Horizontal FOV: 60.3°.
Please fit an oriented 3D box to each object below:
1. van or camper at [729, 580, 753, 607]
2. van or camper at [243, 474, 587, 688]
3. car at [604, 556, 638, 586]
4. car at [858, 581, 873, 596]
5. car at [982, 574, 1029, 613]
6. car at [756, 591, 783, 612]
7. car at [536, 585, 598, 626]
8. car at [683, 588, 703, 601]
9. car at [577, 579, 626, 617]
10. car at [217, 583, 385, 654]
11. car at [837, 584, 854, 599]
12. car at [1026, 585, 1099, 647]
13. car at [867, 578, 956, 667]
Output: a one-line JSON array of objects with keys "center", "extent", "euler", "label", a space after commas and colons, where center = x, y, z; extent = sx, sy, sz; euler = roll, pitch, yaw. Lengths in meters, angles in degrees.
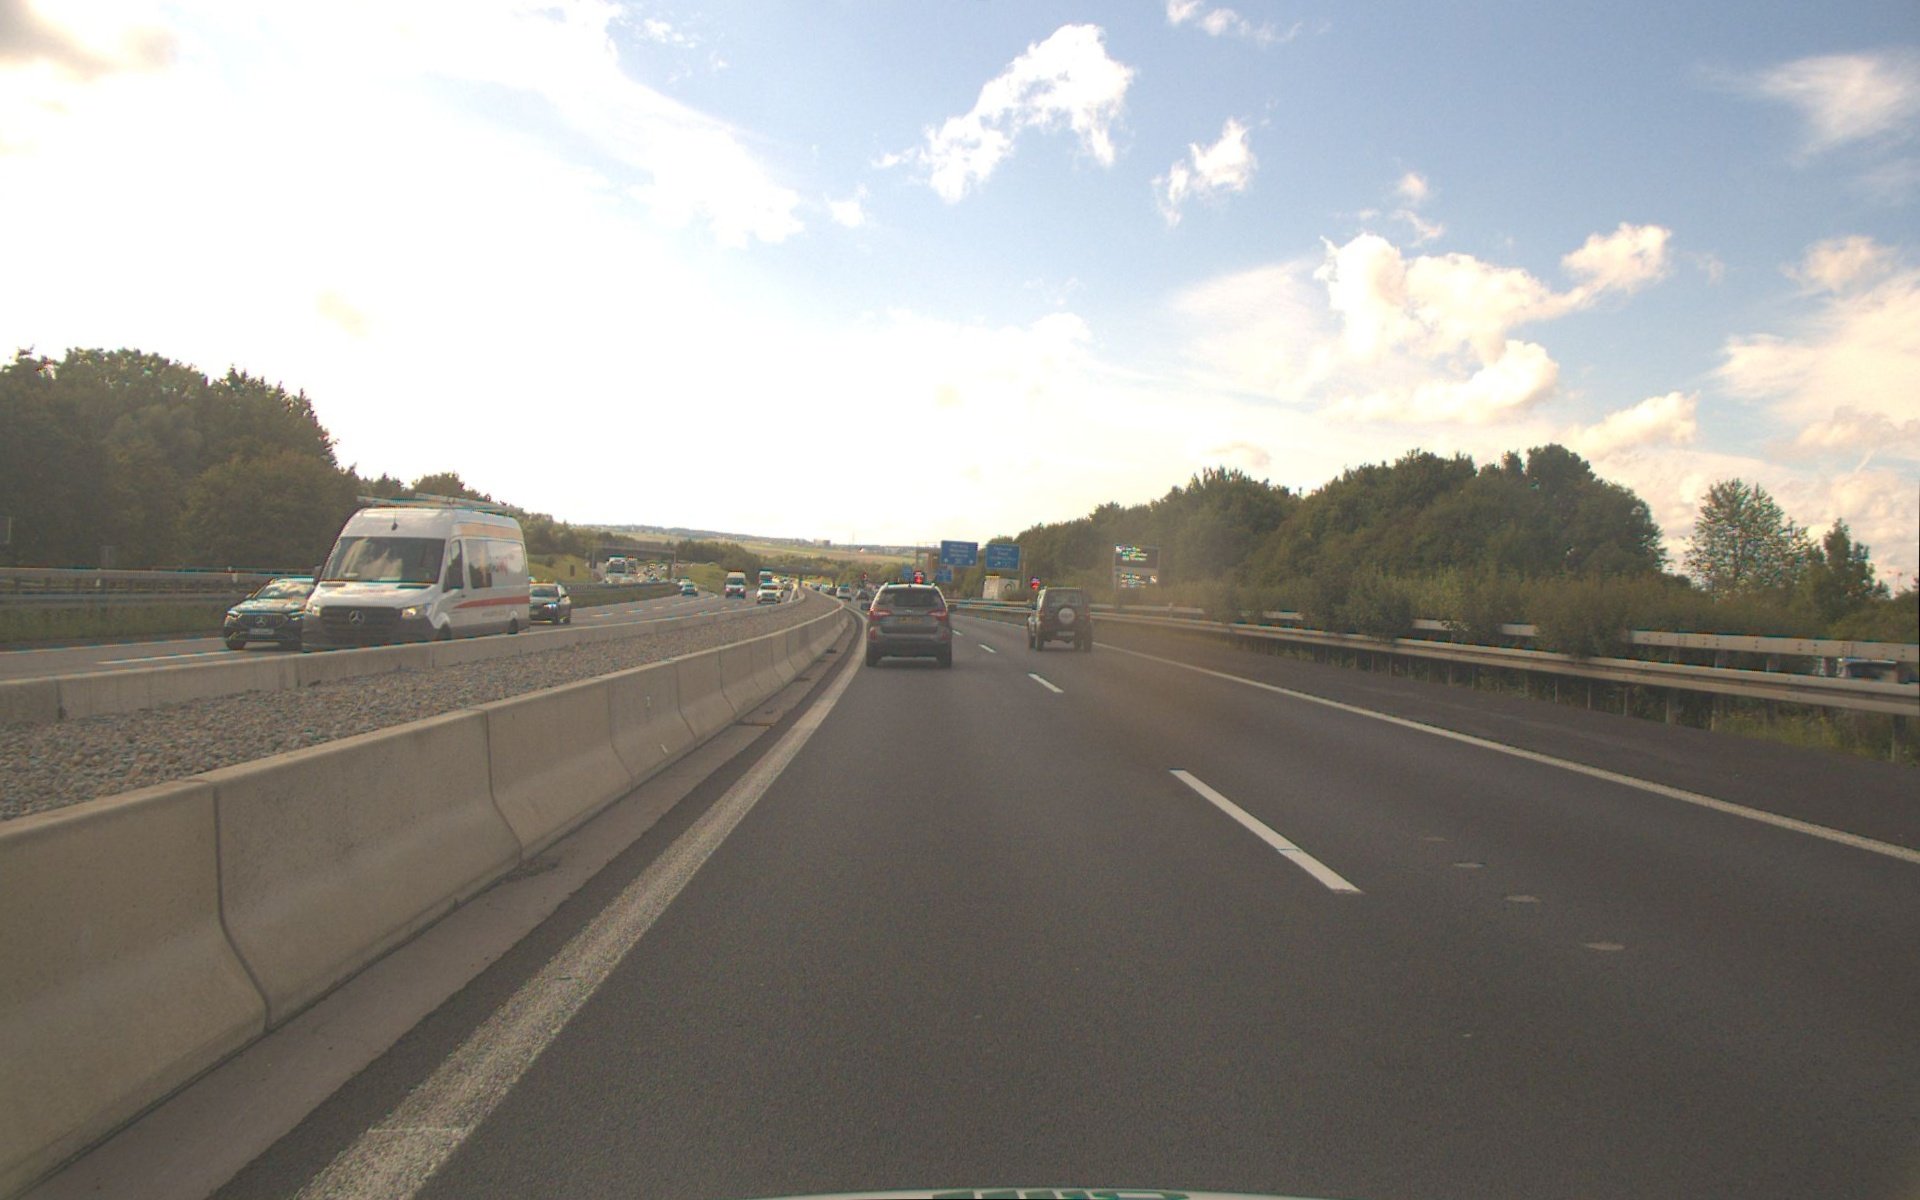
[{"center": [-22.867, -0.678, 172.792], "extent": [1.947, 2.670, 6.857], "euler": [2, 0, -4], "label": "van or camper"}, {"center": [-8.706, -0.278, 27.601], "extent": [3.267, 2.967, 7.464], "euler": [2, 0, -1], "label": "van or camper"}, {"center": [-48.561, -4.109, 237.372], "extent": [3.745, 4.151, 14.803], "euler": [2, 0, -8], "label": "car"}, {"center": [-14.116, -1.703, 246.648], "extent": [1.956, 1.963, 3.992], "euler": [2, -2, -8], "label": "car"}, {"center": [5.577, -0.709, 205.060], "extent": [4.635, 4.341, 11.393], "euler": [2, -1, -4], "label": "car"}, {"center": [-15.501, 0.126, 134.642], "extent": [1.806, 1.639, 5.132], "euler": [1, 0, -3], "label": "car"}, {"center": [-14.845, 0.170, 62.716], "extent": [1.751, 1.442, 4.988], "euler": [1, 0, -8], "label": "car"}, {"center": [-28.693, -0.638, 177.909], "extent": [1.595, 1.316, 4.751], "euler": [2, 0, -4], "label": "car"}, {"center": [-17.042, -0.101, 78.762], "extent": [1.691, 1.729, 4.149], "euler": [1, 0, -4], "label": "car"}, {"center": [-14.435, 0.382, 36.545], "extent": [1.846, 1.446, 5.233], "euler": [0, 0, -3], "label": "car"}, {"center": [-14.636, -1.100, 211.735], "extent": [1.956, 1.713, 3.993], "euler": [2, -1, -7], "label": "car"}, {"center": [2.862, 0.422, 46.863], "extent": [1.555, 1.625, 4.093], "euler": [2, 0, -4], "label": "car"}, {"center": [-1.114, 0.488, 36.444], "extent": [1.781, 1.766, 5.183], "euler": [1, -1, -3], "label": "car"}]
